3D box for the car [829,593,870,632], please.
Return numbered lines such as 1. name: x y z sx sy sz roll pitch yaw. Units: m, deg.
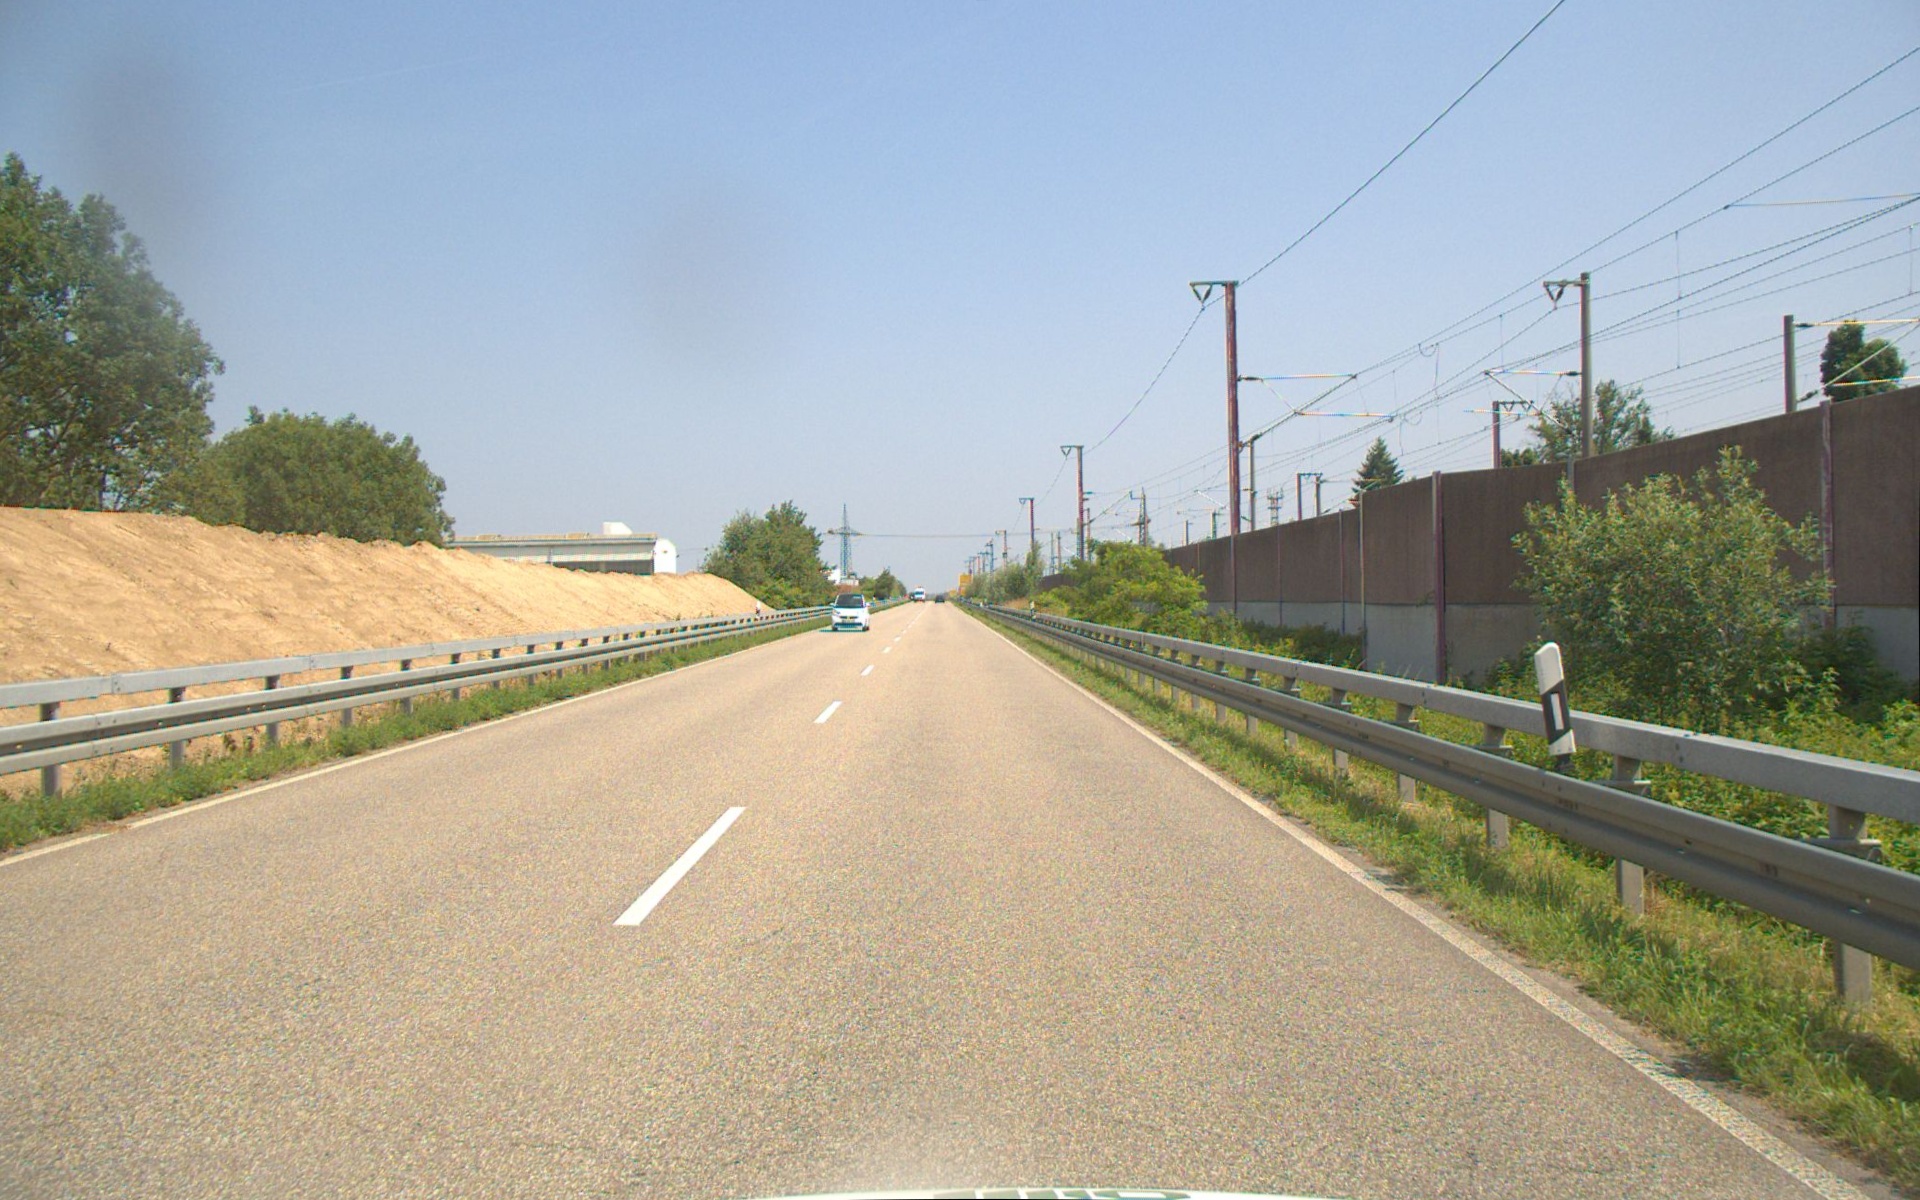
1. car: -4.663 0.497 70.096 1.563 1.603 3.827 0 0 -1
